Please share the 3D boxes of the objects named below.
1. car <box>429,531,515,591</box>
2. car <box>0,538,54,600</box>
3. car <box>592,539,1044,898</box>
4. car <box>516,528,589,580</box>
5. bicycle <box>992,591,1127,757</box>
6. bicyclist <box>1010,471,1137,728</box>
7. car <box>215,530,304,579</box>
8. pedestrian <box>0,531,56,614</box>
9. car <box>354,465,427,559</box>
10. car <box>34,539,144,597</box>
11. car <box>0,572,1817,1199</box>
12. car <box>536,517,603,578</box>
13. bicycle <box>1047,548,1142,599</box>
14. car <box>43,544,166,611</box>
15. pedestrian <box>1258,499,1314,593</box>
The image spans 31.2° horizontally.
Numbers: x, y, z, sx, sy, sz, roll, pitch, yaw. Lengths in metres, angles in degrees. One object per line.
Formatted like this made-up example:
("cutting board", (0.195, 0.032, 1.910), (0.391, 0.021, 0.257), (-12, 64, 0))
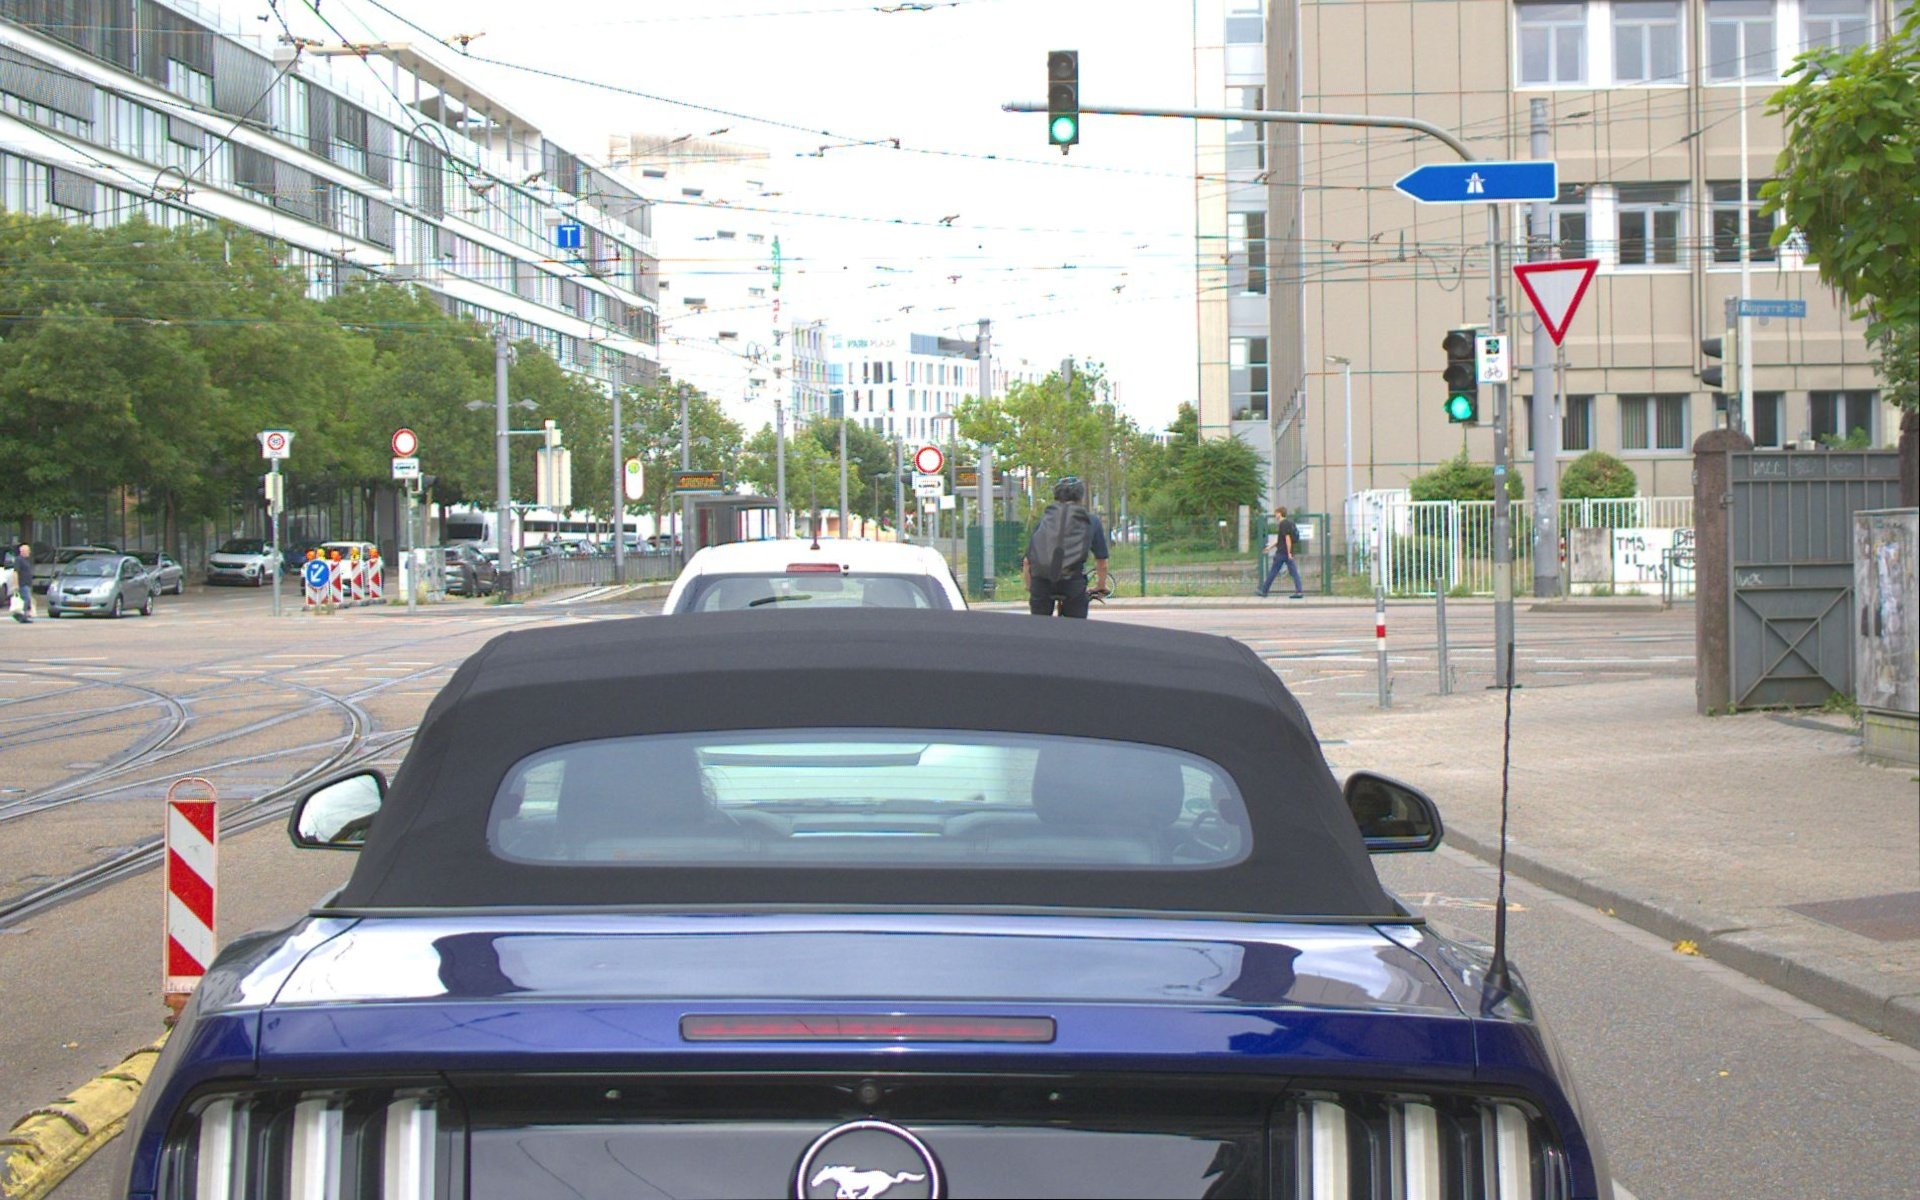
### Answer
("car", (-13.775, -1.128, 97.251), (1.879, 1.623, 4.087), (-1, 1, -1))
("car", (-25.566, -0.852, 90.986), (1.830, 1.551, 4.216), (1, 1, 3))
("car", (-0.751, 0.447, 16.239), (1.835, 1.434, 4.188), (-1, 1, -5))
("car", (-13.098, -1.505, 110.783), (1.868, 1.600, 4.213), (-1, 1, -1))
("bicycle", (0.691, 0.504, 24.500), (0.800, 1.082, 2.132), (-1, 1, -2))
("bicyclist", (0.802, -0.014, 24.588), (0.796, 1.779, 1.233), (-1, 1, -2))
("car", (-23.676, -1.560, 116.344), (1.986, 1.551, 4.512), (1, 1, 1))
("pedestrian", (-20.870, -0.618, 76.809), (0.989, 1.849, 0.901), (-1, 1, 7))
("car", (-22.387, -3.457, 135.334), (1.986, 3.624, 4.512), (1, 1, 1))
("car", (-24.828, -0.932, 98.152), (1.830, 1.551, 4.216), (1, 1, 3))
("car", (-0.136, 0.695, 5.447), (1.876, 1.399, 4.282), (1, 1, 0))
("car", (-13.141, -1.791, 115.823), (1.785, 1.980, 4.121), (-1, 1, -1))
("bicycle", (2.835, -0.555, 72.722), (0.632, 0.977, 2.157), (-2, -1, -42))
("car", (-20.642, -0.564, 83.107), (1.668, 1.501, 4.234), (1, 1, 3))
("pedestrian", (6.630, -1.099, 69.956), (1.086, 1.891, 0.902), (-1, 1, 5))
